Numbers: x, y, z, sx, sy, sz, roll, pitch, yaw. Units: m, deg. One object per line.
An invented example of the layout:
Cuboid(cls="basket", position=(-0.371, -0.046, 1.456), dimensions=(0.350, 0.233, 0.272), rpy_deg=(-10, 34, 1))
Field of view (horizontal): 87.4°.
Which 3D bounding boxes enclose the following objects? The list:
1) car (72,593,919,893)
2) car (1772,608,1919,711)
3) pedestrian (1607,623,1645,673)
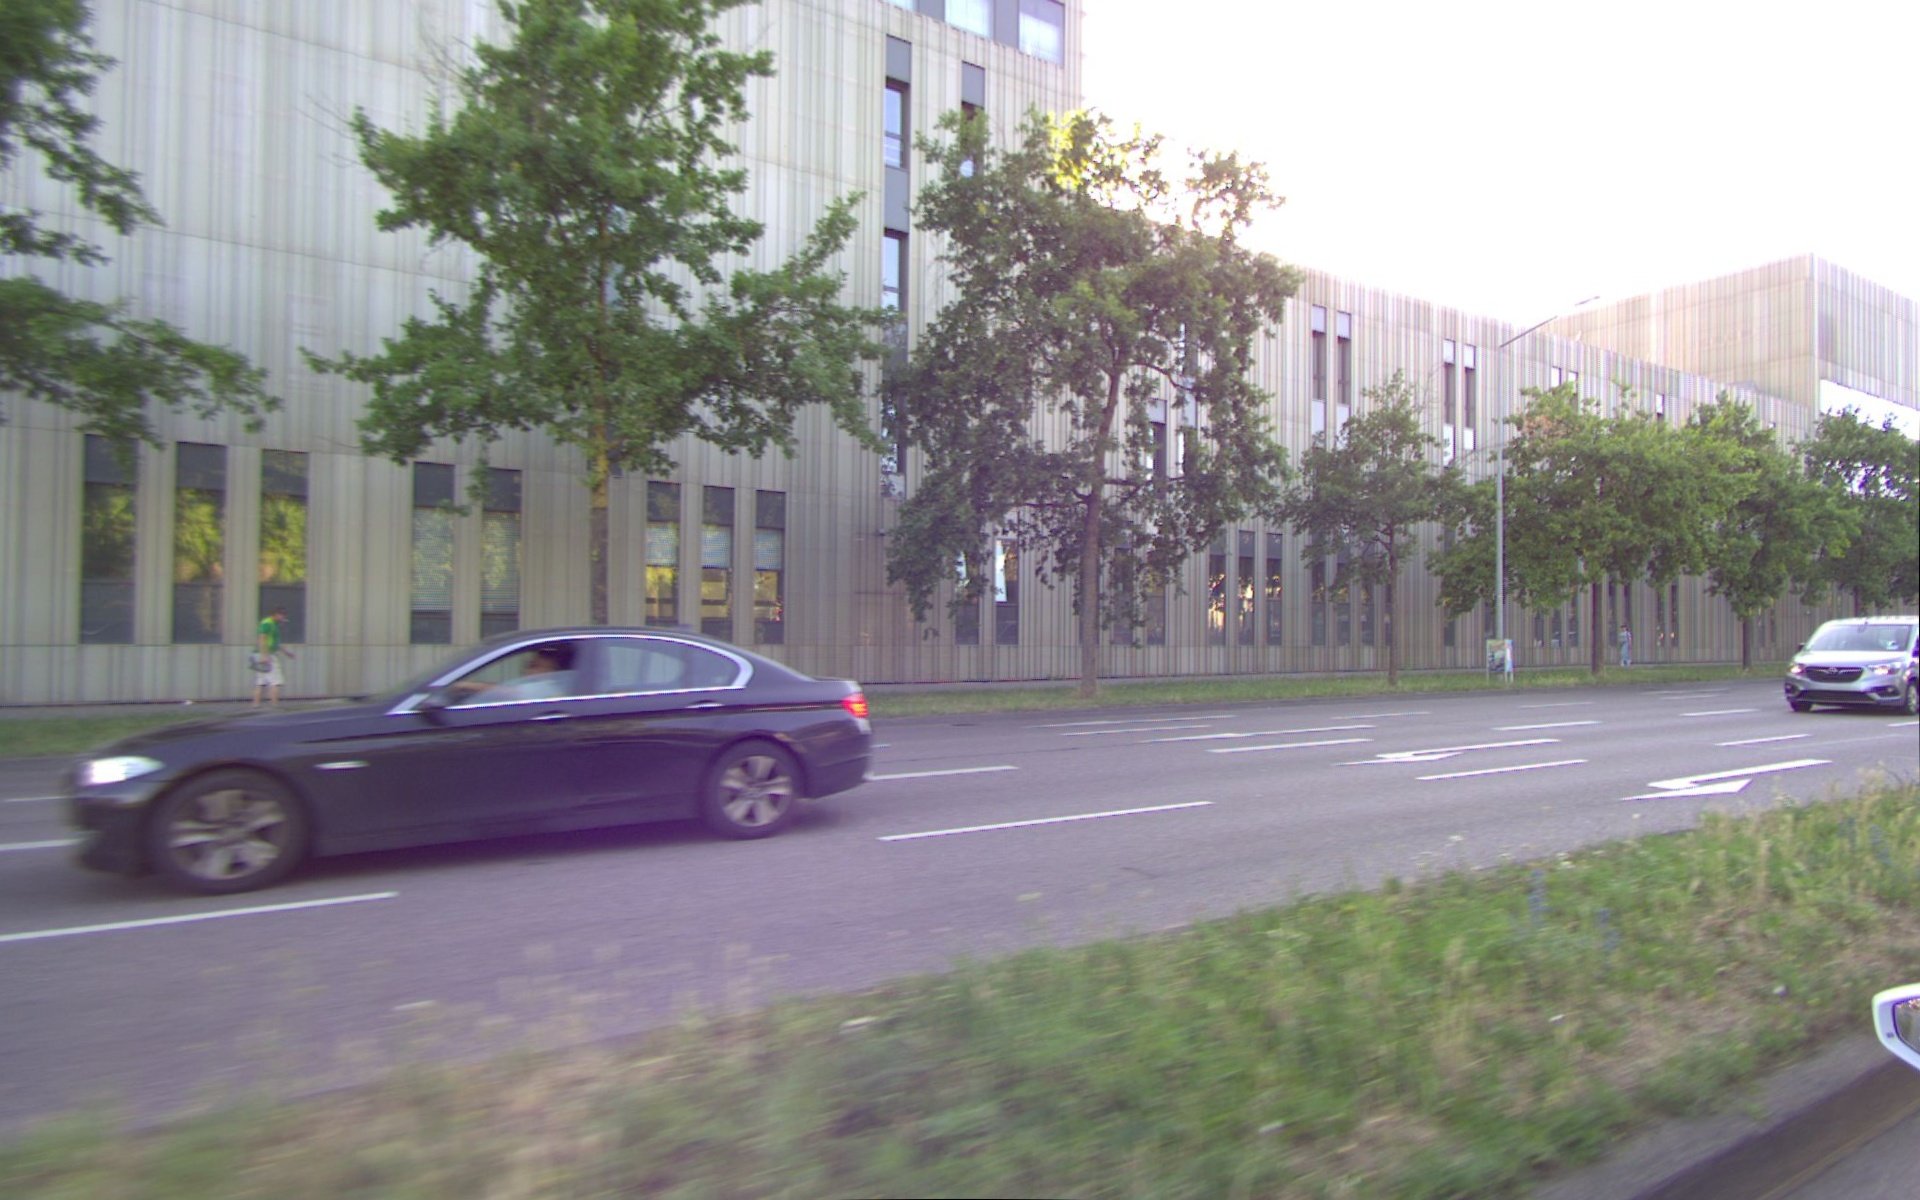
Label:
Cuboid(cls="car", position=(-2.830, 0.876, 7.058), dimensions=(4.745, 1.470, 1.984), rpy_deg=(3, -6, -32))
Cuboid(cls="car", position=(17.794, 1.197, 19.455), dimensions=(4.444, 1.800, 1.748), rpy_deg=(3, -6, -31))
Cuboid(cls="pedestrian", position=(28.401, 2.037, 42.840), dimensions=(0.950, 2.040, 1.014), rpy_deg=(2, 0, -30))
